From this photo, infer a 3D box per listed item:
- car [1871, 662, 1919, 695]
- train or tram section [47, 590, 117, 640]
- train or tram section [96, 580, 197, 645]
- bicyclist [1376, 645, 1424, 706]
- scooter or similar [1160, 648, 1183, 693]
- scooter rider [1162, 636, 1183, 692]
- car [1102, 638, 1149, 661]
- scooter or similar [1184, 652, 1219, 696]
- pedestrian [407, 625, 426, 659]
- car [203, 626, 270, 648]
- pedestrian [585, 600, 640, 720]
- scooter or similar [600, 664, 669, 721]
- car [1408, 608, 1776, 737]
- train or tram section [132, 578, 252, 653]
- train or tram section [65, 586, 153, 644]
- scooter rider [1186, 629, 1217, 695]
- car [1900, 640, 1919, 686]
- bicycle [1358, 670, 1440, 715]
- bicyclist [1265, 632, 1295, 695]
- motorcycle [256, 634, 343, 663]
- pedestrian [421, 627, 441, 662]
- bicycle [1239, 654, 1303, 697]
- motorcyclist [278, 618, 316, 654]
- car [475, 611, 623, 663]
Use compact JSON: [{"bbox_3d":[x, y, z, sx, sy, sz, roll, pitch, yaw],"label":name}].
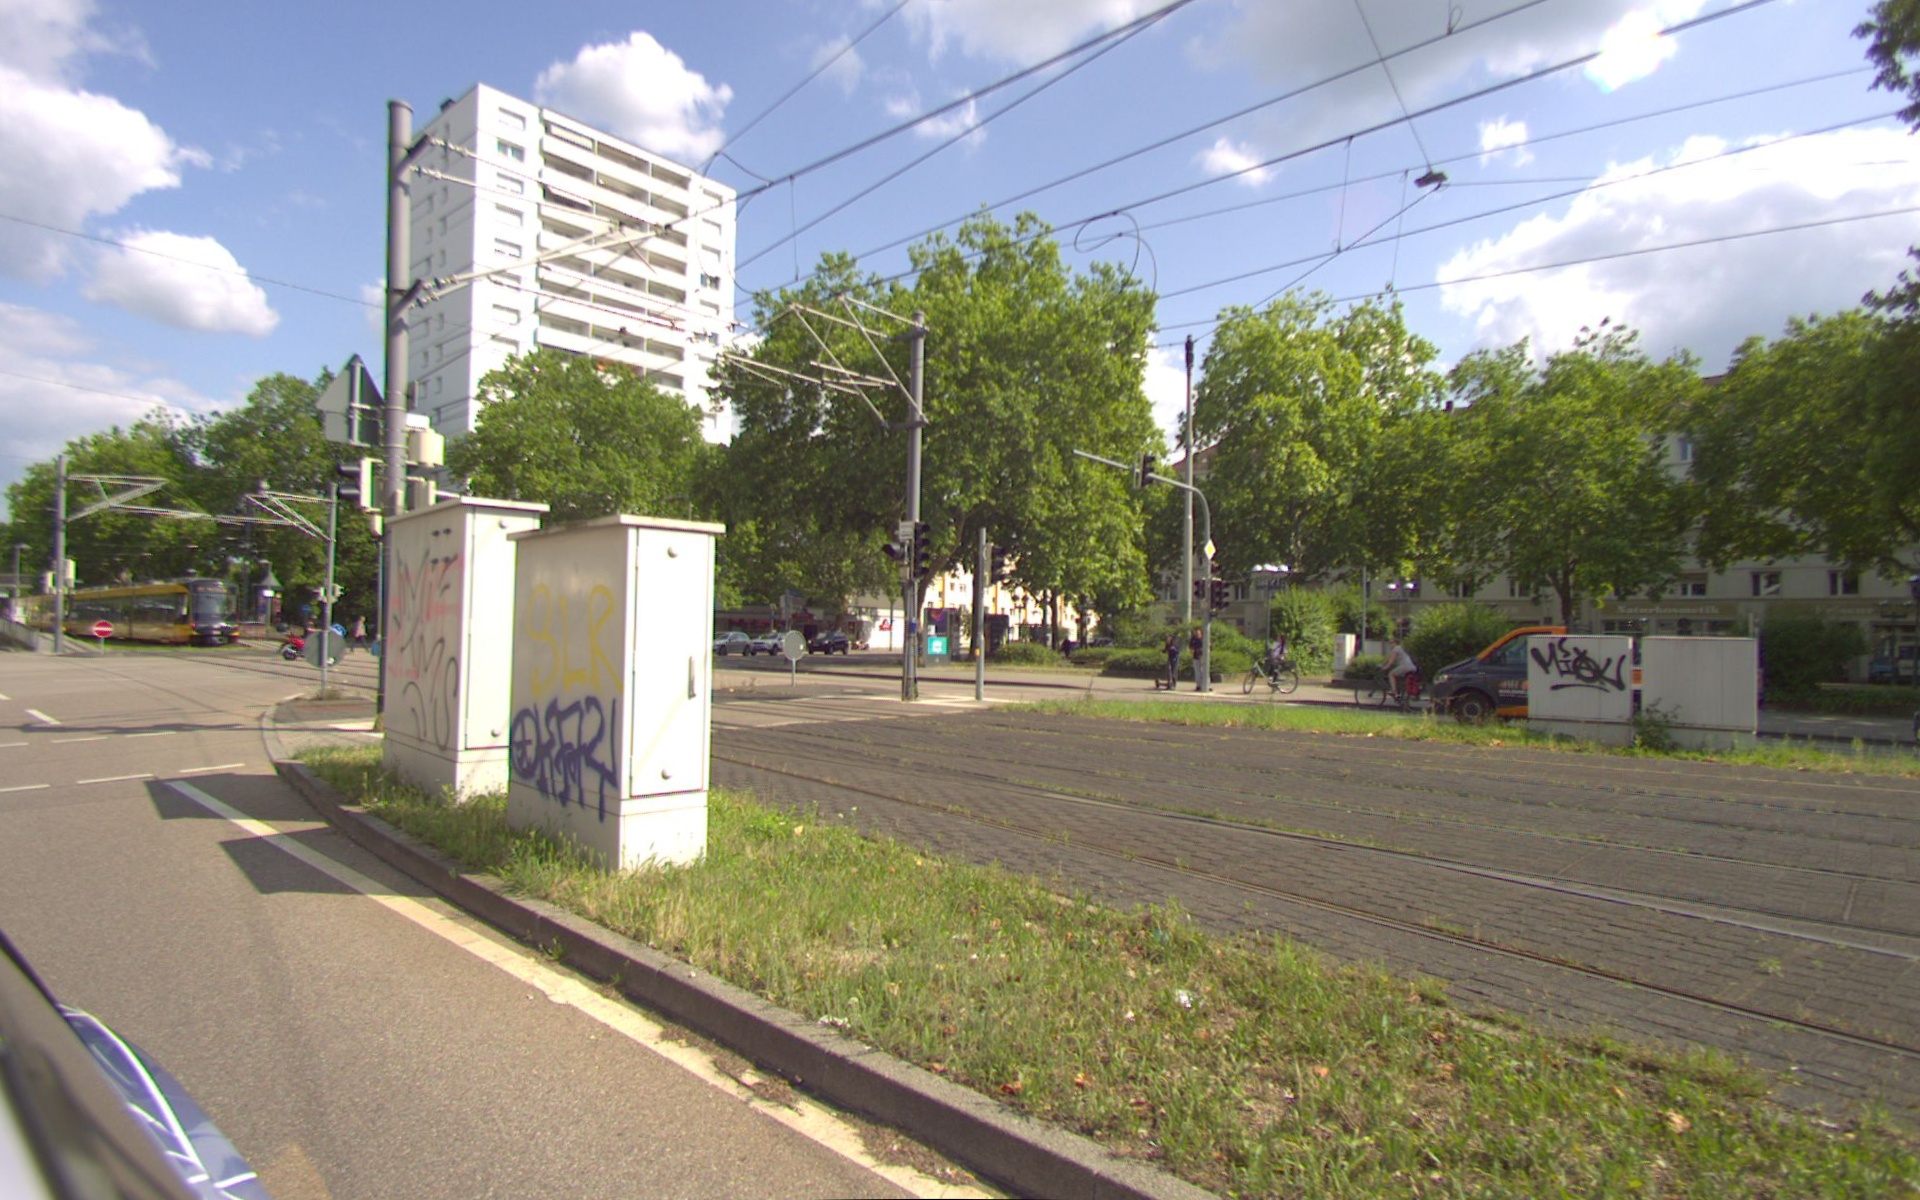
[{"bbox_3d":[52.243,4.405,56.268,3.678,1.680,1.936,6,-5,-41],"label":"car"},{"bbox_3d":[-65.589,1.159,75.505,8.903,3.509,2.737,-1,-3,42],"label":"train or tram section"},{"bbox_3d":[-48.954,0.798,60.718,11.176,3.588,2.776,-1,-3,41],"label":"train or tram section"},{"bbox_3d":[10.201,1.740,23.497,0.463,1.354,0.911,3,-3,-40],"label":"bicyclist"},{"bbox_3d":[6.147,2.037,29.375,0.541,1.235,0.871,0,-1,19],"label":"scooter or similar"},{"bbox_3d":[6.167,1.843,29.417,0.541,1.605,0.435,0,-1,20],"label":"scooter rider"},{"bbox_3d":[12.844,3.829,78.342,1.850,1.672,4.029,-1,-3,40],"label":"car"},{"bbox_3d":[6.841,2.098,28.651,0.535,1.180,0.879,0,-1,-23],"label":"scooter or similar"},{"bbox_3d":[-28.138,2.165,52.391,0.648,1.716,0.662,-1,-3,44],"label":"pedestrian"},{"bbox_3d":[-50.235,2.576,70.312,3.818,1.501,1.850,0,-2,18],"label":"car"},{"bbox_3d":[-5.174,0.883,15.072,0.556,1.746,0.521,-1,-2,37],"label":"pedestrian"},{"bbox_3d":[-4.939,1.384,15.375,0.553,0.810,0.830,-1,-3,37],"label":"scooter or similar"},{"bbox_3d":[11.202,1.264,18.250,5.333,2.002,2.053,-3,-4,42],"label":"car"},{"bbox_3d":[-40.556,0.849,53.240,11.372,3.588,2.766,-1,-3,42],"label":"train or tram section"},{"bbox_3d":[-57.736,1.056,68.500,12.152,3.588,2.776,-1,-3,42],"label":"train or tram section"},{"bbox_3d":[6.841,1.740,28.652,0.535,1.824,0.682,0,-1,-23],"label":"scooter rider"},{"bbox_3d":[45.964,3.012,47.507,3.872,2.029,2.259,6,-5,-41],"label":"car"},{"bbox_3d":[10.182,2.132,23.501,0.463,0.928,1.720,3,-3,-40],"label":"bicycle"},{"bbox_3d":[8.781,1.731,27.751,0.574,1.681,0.508,-1,-1,-9],"label":"bicyclist"},{"bbox_3d":[-23.297,1.707,35.765,2.462,0.984,0.701,2,-2,-22],"label":"motorcycle"},{"bbox_3d":[-26.223,2.209,50.154,0.648,1.716,0.662,-1,-3,44],"label":"pedestrian"},{"bbox_3d":[8.505,2.055,27.702,1.605,1.121,0.508,-1,-1,-9],"label":"bicycle"},{"bbox_3d":[-23.411,1.267,35.732,0.960,1.227,0.701,2,-2,-22],"label":"motorcyclist"},{"bbox_3d":[-16.506,1.518,40.833,2.001,1.906,5.096,-1,-4,44],"label":"car"}]
